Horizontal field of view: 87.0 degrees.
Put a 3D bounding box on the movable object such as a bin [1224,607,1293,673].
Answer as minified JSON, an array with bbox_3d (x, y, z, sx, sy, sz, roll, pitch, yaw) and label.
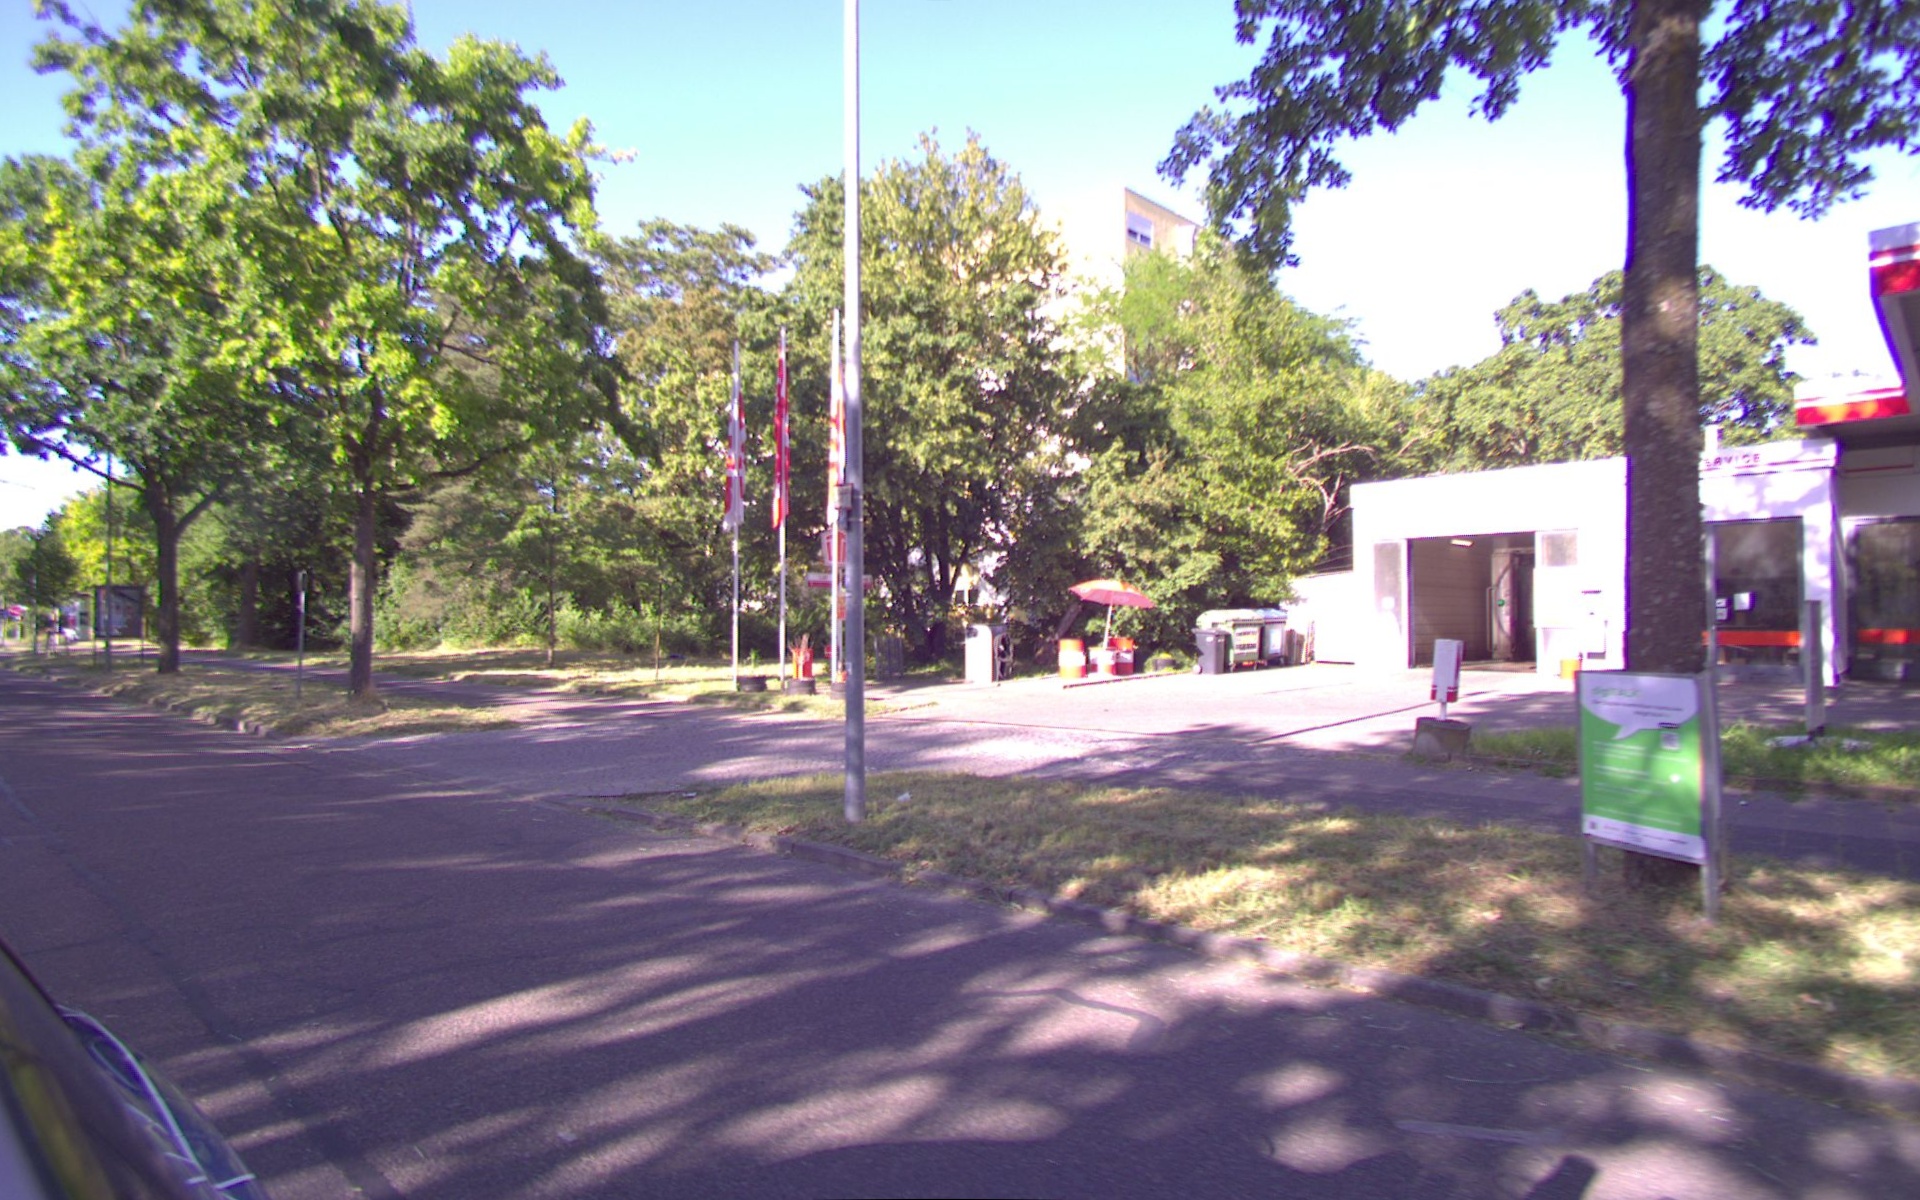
[{"bbox_3d":[7.332,0.958,24.842,1.163,1.553,1.290,-2,-1,41],"label":"movable object such as a bin"}]

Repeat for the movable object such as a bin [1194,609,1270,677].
[{"bbox_3d":[6.416,0.996,23.854,1.267,1.553,1.290,-2,-2,41],"label":"movable object such as a bin"}]

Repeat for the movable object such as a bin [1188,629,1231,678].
[{"bbox_3d":[5.710,1.224,23.162,0.768,1.094,0.562,-2,-2,41],"label":"movable object such as a bin"}]
